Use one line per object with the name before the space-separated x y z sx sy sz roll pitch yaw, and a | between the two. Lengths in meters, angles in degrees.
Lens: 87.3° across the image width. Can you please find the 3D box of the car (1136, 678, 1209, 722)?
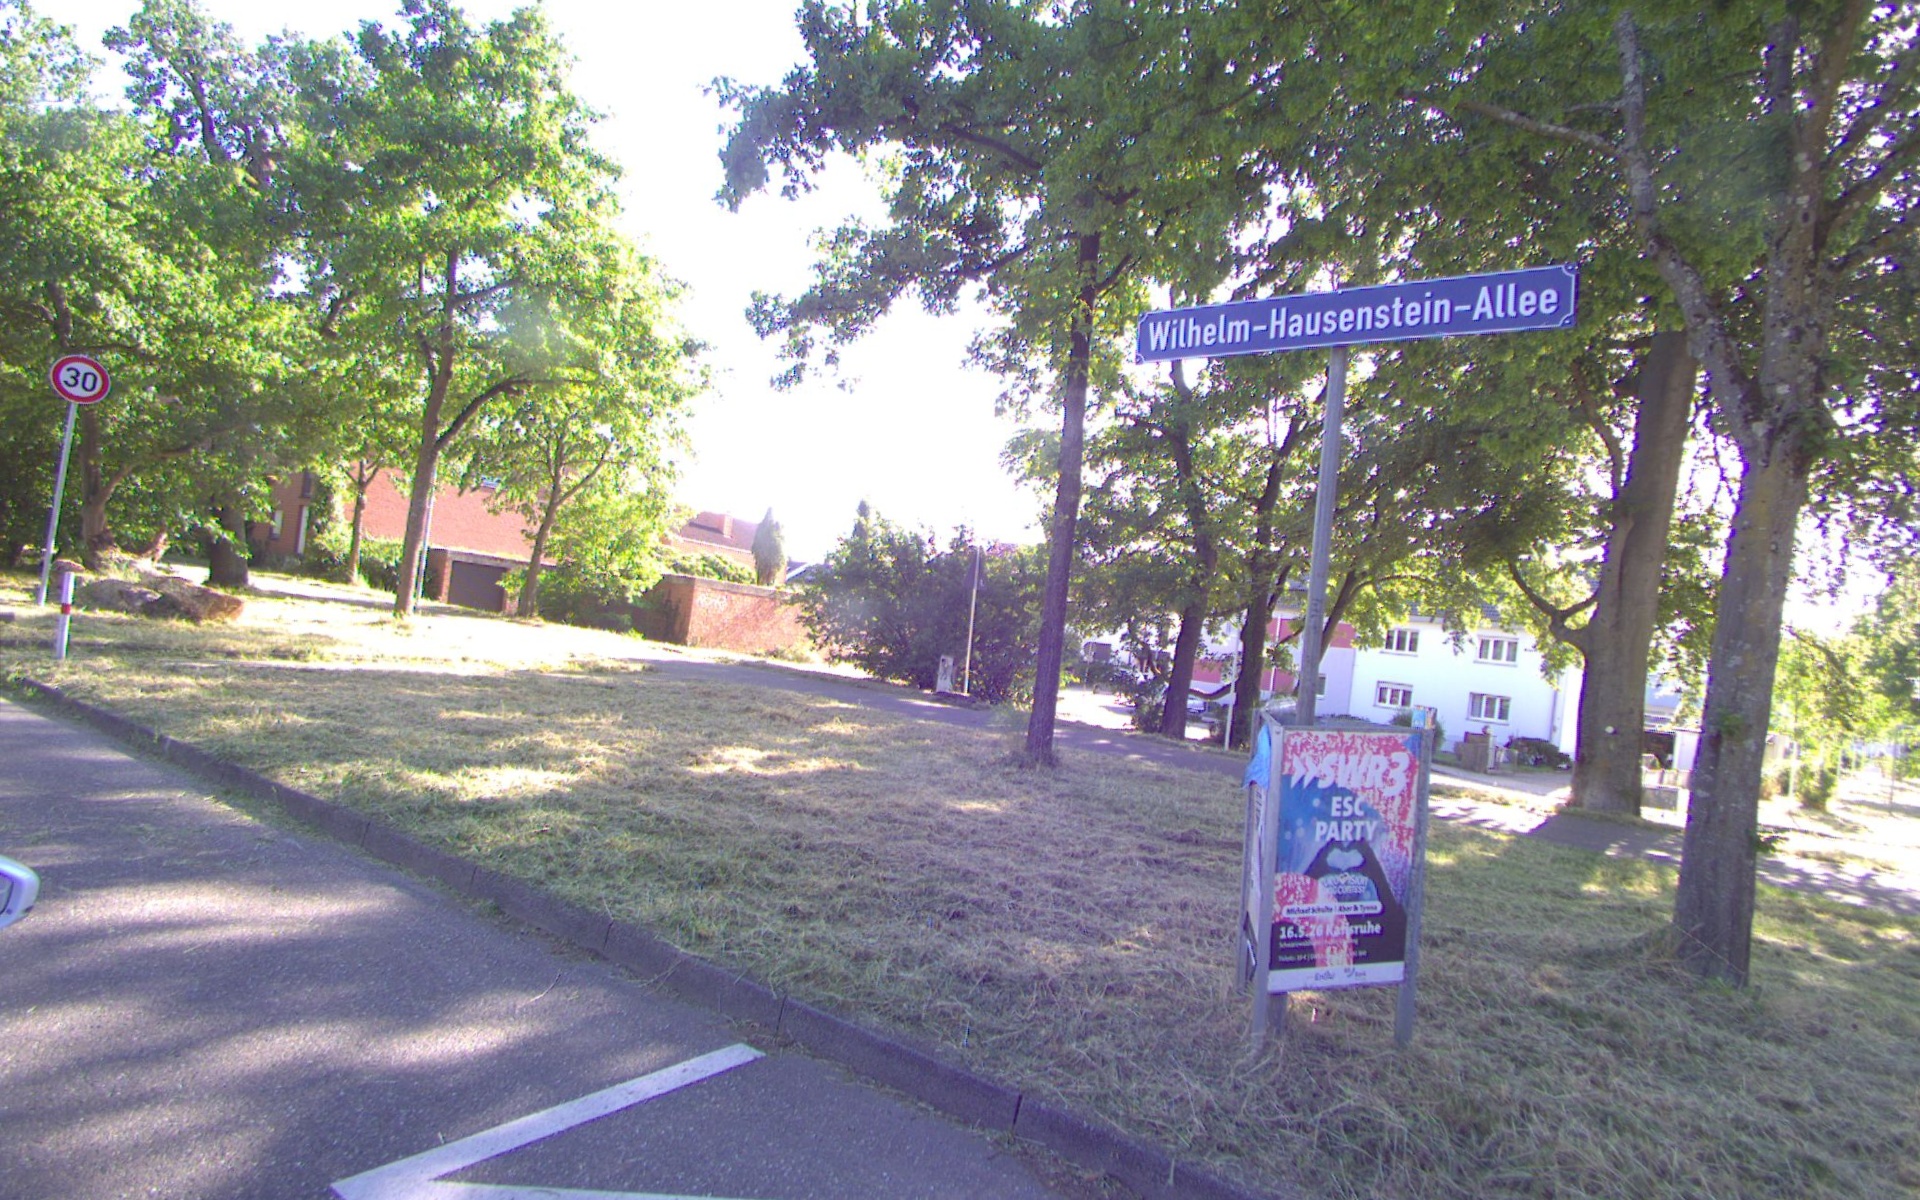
car | 10.090 4.748 47.962 1.514 1.569 3.160 9 -2 -30
